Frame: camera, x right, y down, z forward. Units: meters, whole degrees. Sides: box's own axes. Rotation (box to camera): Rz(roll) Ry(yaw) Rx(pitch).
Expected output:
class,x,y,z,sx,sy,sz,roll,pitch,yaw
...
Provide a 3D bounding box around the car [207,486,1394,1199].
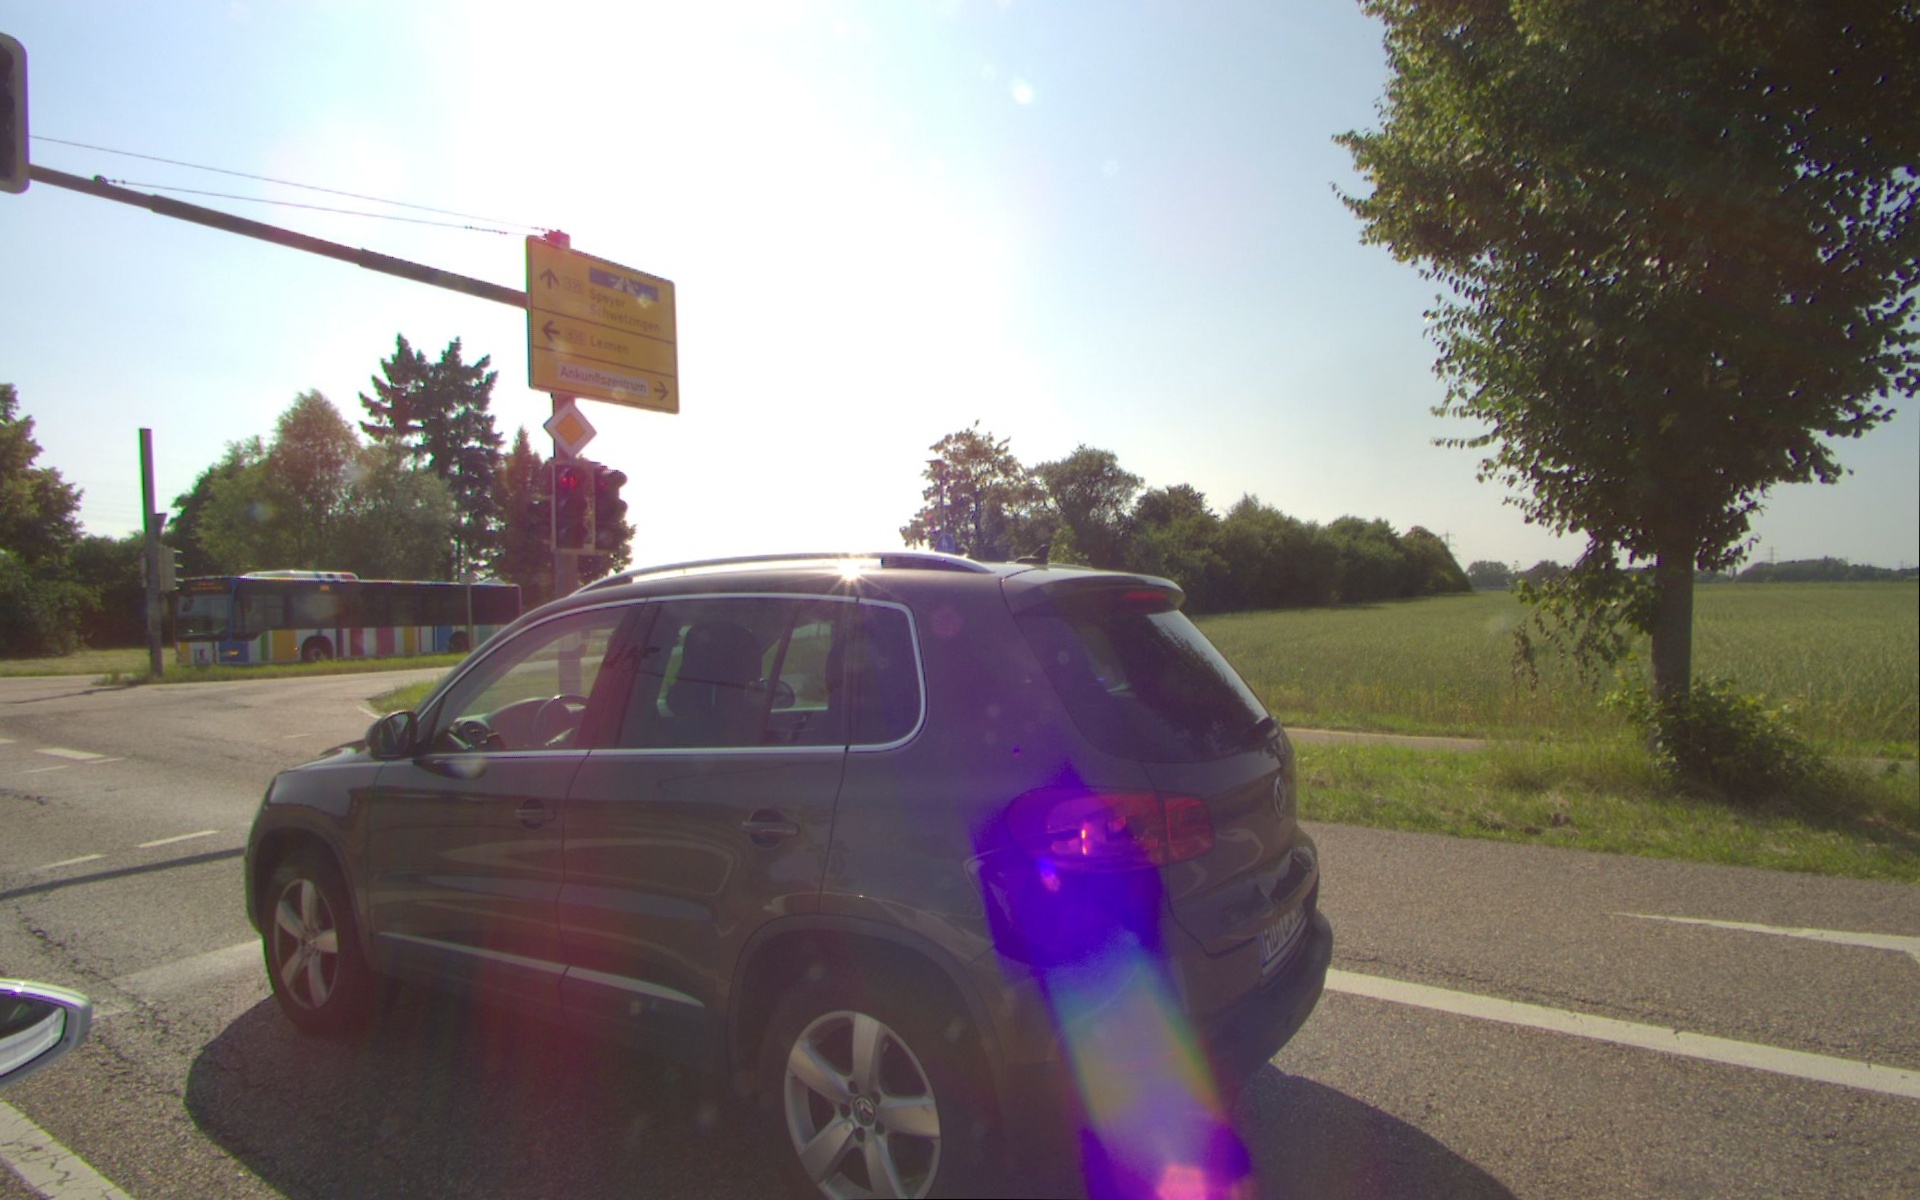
class,x,y,z,sx,sy,sz,roll,pitch,yaw
car,-0.765,0.690,3.610,4.086,1.677,1.753,-1,-2,32

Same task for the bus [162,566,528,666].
class,x,y,z,sx,sy,sz,roll,pitch,yaw
bus,-20.635,0.417,35.157,2.889,2.916,11.955,-1,0,17
